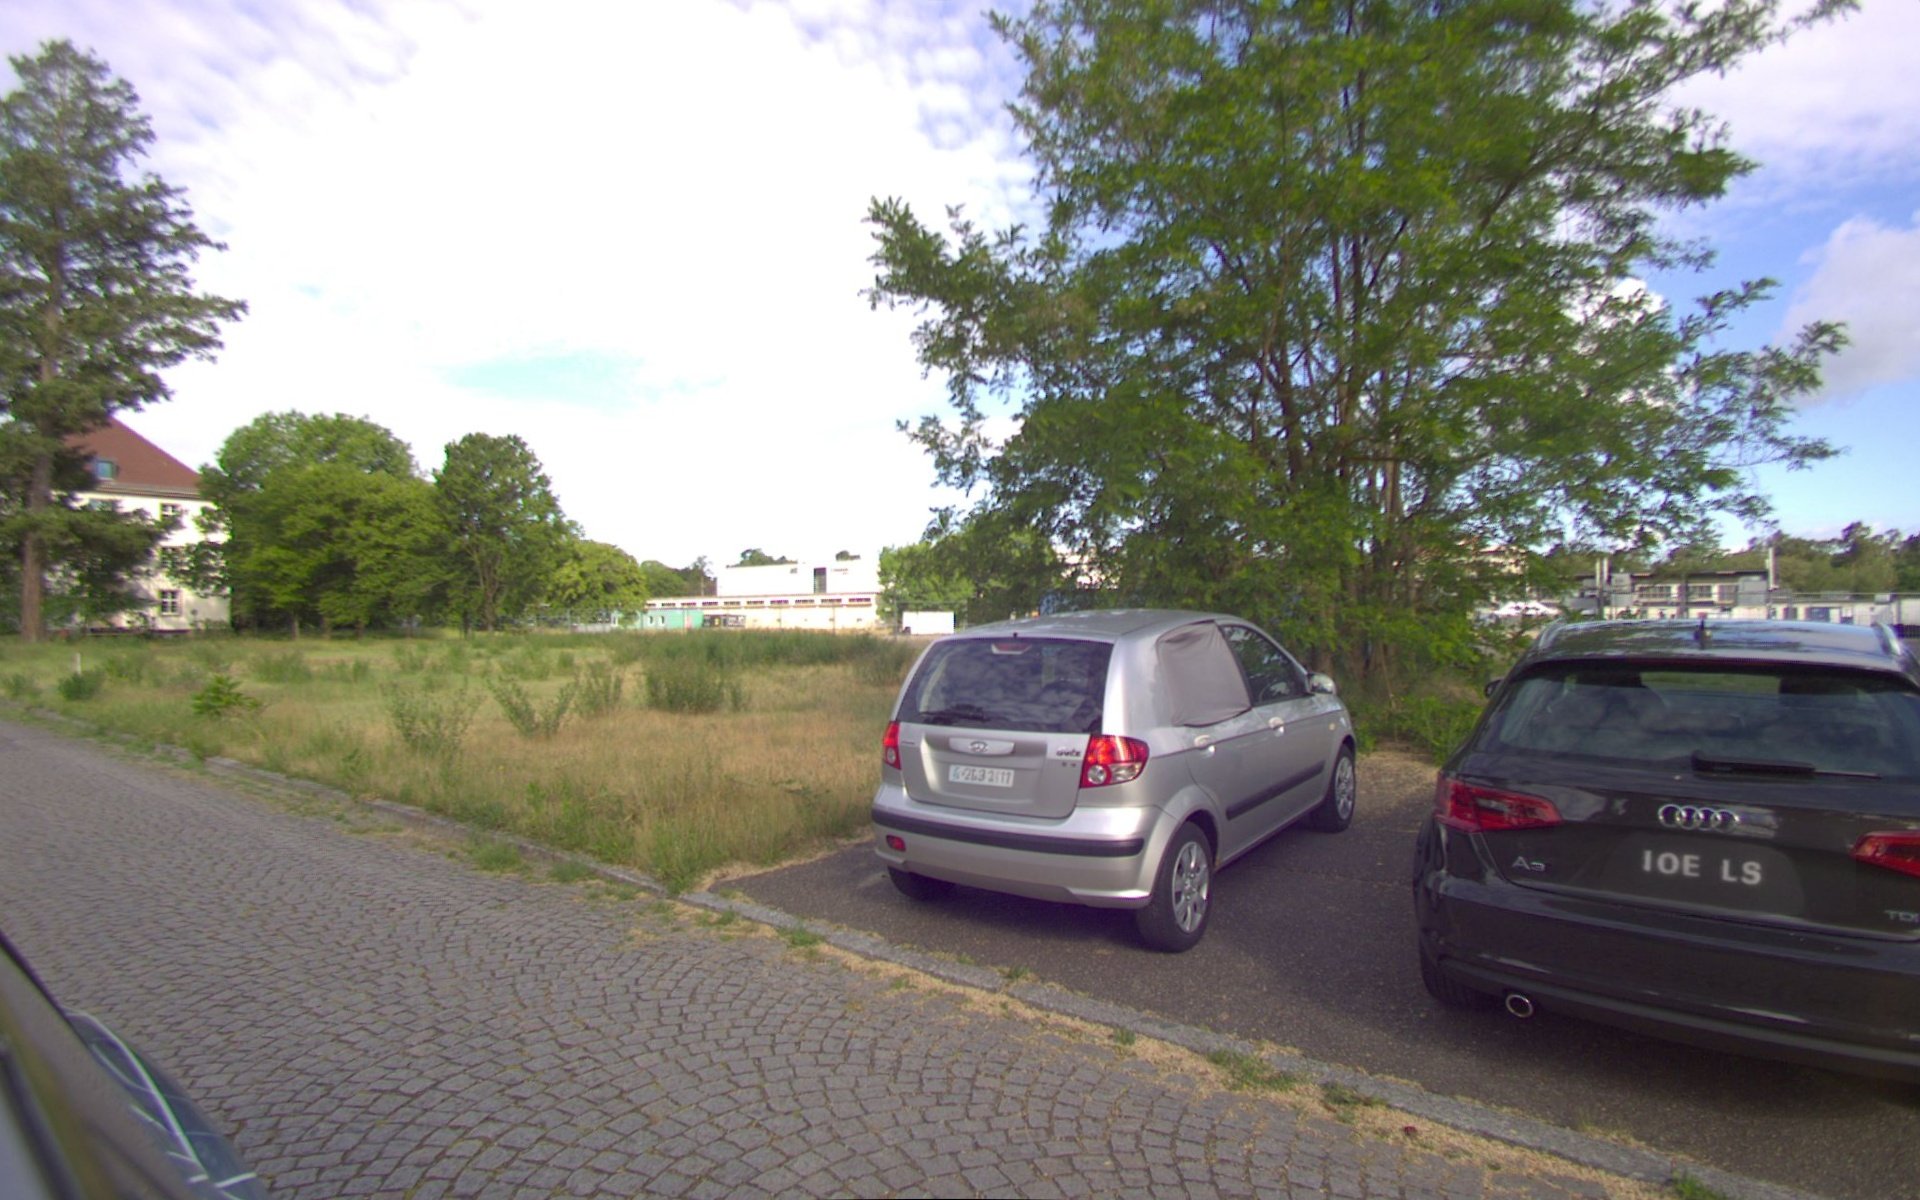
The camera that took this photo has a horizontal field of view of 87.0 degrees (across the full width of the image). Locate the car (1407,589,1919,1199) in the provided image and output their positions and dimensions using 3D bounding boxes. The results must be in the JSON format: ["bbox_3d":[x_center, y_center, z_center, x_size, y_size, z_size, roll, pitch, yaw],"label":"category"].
[{"bbox_3d":[3.262,0.723,4.175,1.693,1.419,3.799,-1,1,38],"label":"car"}]

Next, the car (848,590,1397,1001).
[{"bbox_3d":[1.187,0.746,5.785,1.644,1.486,3.544,-1,1,36],"label":"car"}]
